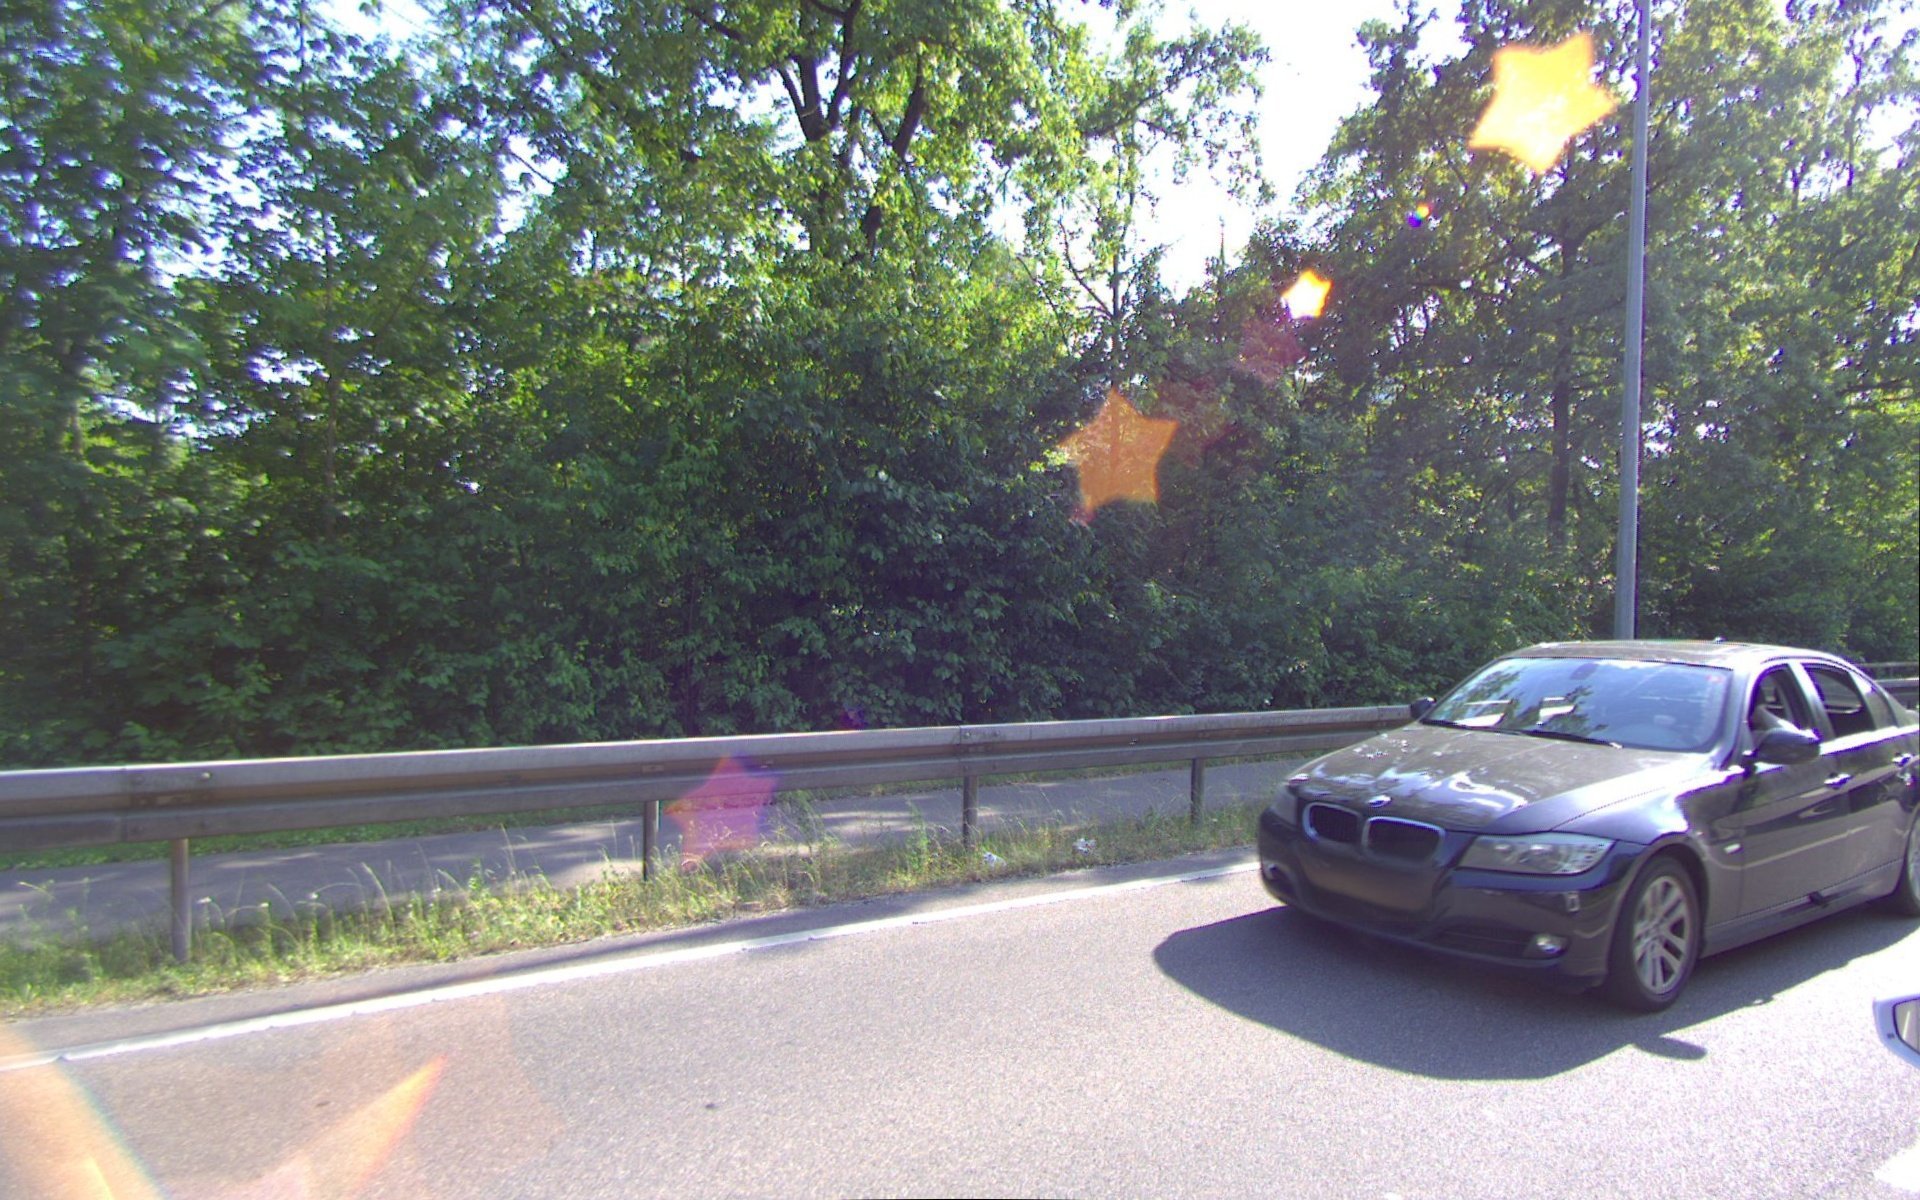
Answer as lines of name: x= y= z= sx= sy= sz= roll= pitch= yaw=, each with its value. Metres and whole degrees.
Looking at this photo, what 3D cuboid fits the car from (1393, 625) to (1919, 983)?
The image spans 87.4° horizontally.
car: x=4.583 y=0.896 z=5.909 sx=4.094 sy=1.439 sz=1.683 roll=1 pitch=-1 yaw=-31
